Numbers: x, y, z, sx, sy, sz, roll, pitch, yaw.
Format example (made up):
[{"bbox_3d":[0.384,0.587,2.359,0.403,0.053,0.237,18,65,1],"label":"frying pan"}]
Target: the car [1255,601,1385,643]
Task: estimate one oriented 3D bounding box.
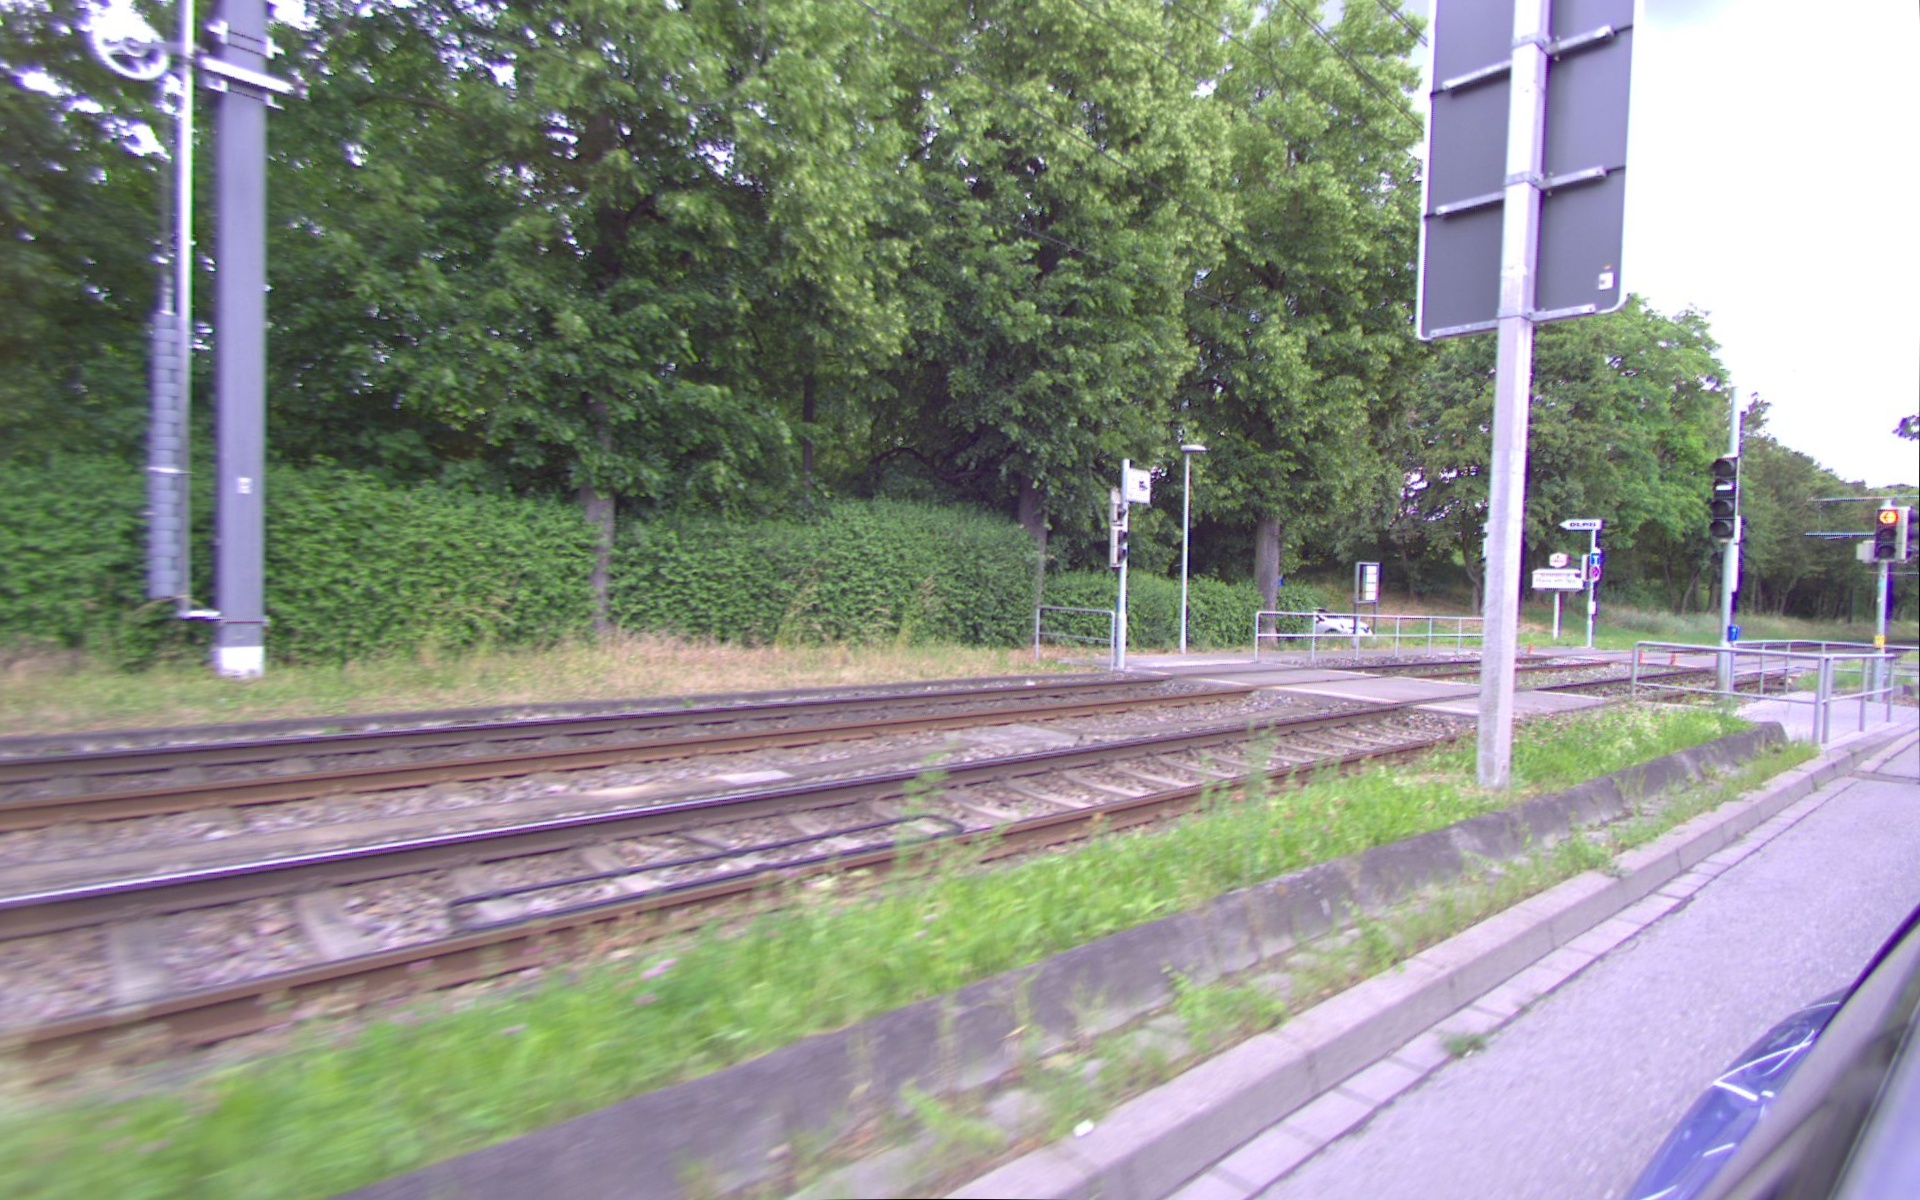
[{"bbox_3d":[12.642,0.757,35.695,1.754,1.402,3.991,1,-2,-42],"label":"car"}]
